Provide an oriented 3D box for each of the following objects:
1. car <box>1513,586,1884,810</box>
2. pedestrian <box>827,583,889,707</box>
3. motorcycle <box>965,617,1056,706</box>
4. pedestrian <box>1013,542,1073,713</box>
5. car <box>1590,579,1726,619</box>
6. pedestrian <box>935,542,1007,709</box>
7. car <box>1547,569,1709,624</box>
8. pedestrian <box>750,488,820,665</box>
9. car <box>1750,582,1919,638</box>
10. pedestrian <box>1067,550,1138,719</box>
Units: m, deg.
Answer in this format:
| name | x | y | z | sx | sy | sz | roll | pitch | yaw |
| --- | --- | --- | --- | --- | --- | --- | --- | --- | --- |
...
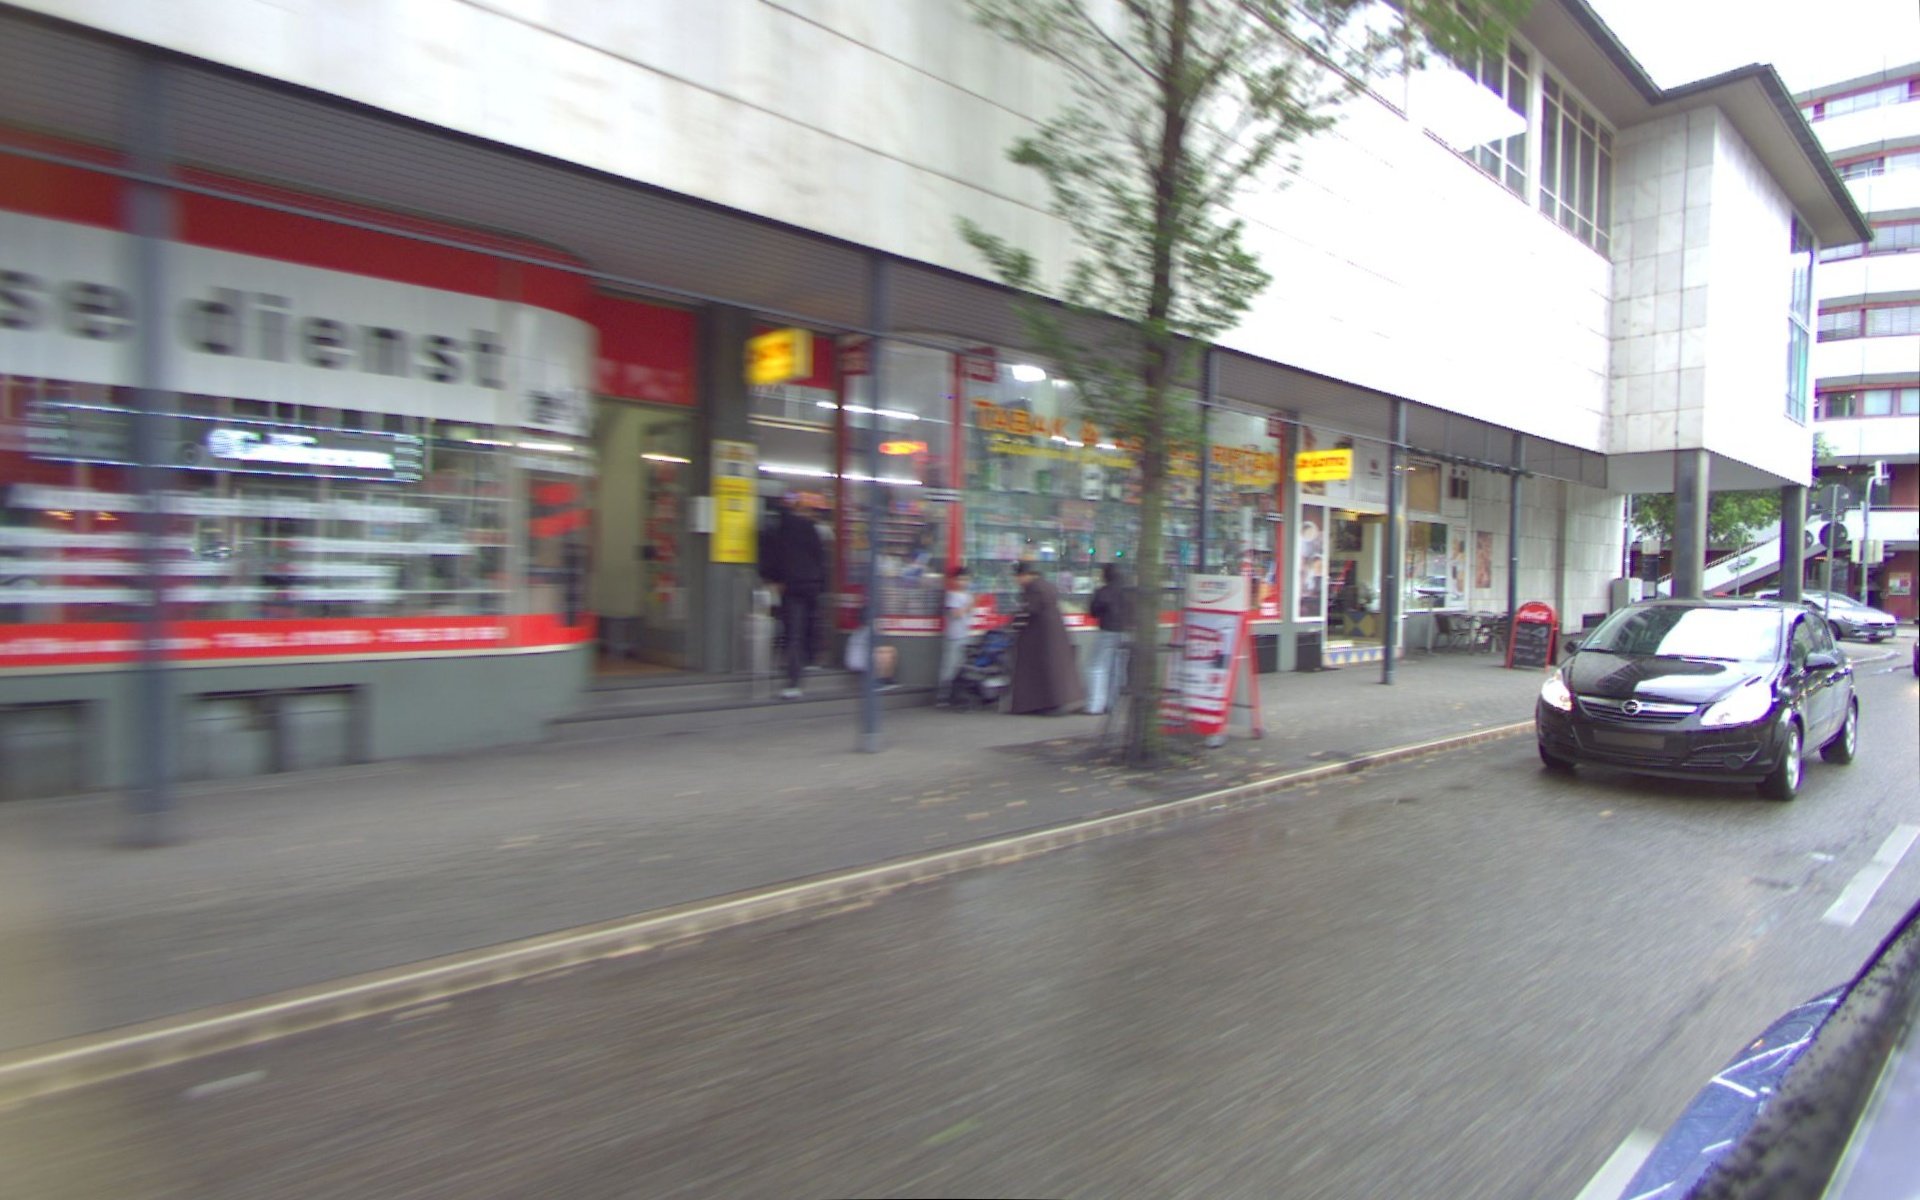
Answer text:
| name | x | y | z | sx | sy | sz | roll | pitch | yaw |
| --- | --- | --- | --- | --- | --- | --- | --- | --- | --- |
| car | 6.411 | 0.639 | 8.655 | 3.676 | 1.475 | 1.712 | 0 | 2 | -40 |
| pedestrian | -0.982 | 0.422 | 9.834 | 0.424 | 1.150 | 0.507 | 2 | 2 | 14 |
| motorcycle | 0.507 | 0.591 | 10.009 | 0.904 | 0.814 | 0.325 | 1 | 2 | -41 |
| pedestrian | 0.798 | 0.250 | 9.728 | 0.500 | 1.585 | 0.430 | 2 | 2 | 5 |
| car | 28.538 | -0.083 | 41.485 | 1.756 | 1.437 | 4.268 | 0 | 2 | -41 |
| pedestrian | 0.104 | 0.232 | 9.909 | 0.500 | 1.585 | 0.430 | 1 | 2 | -37 |
| car | 24.347 | -0.181 | 37.041 | 1.822 | 1.781 | 4.608 | -2 | 3 | -37 |
| pedestrian | -1.611 | -0.221 | 9.363 | 0.500 | 1.585 | 0.430 | 2 | 2 | 5 |
| car | 26.128 | 0.247 | 29.988 | 1.959 | 1.495 | 4.007 | 0 | 1 | -10 |
| pedestrian | 1.386 | 0.315 | 9.817 | 0.428 | 1.585 | 0.502 | 3 | 2 | 40 |
